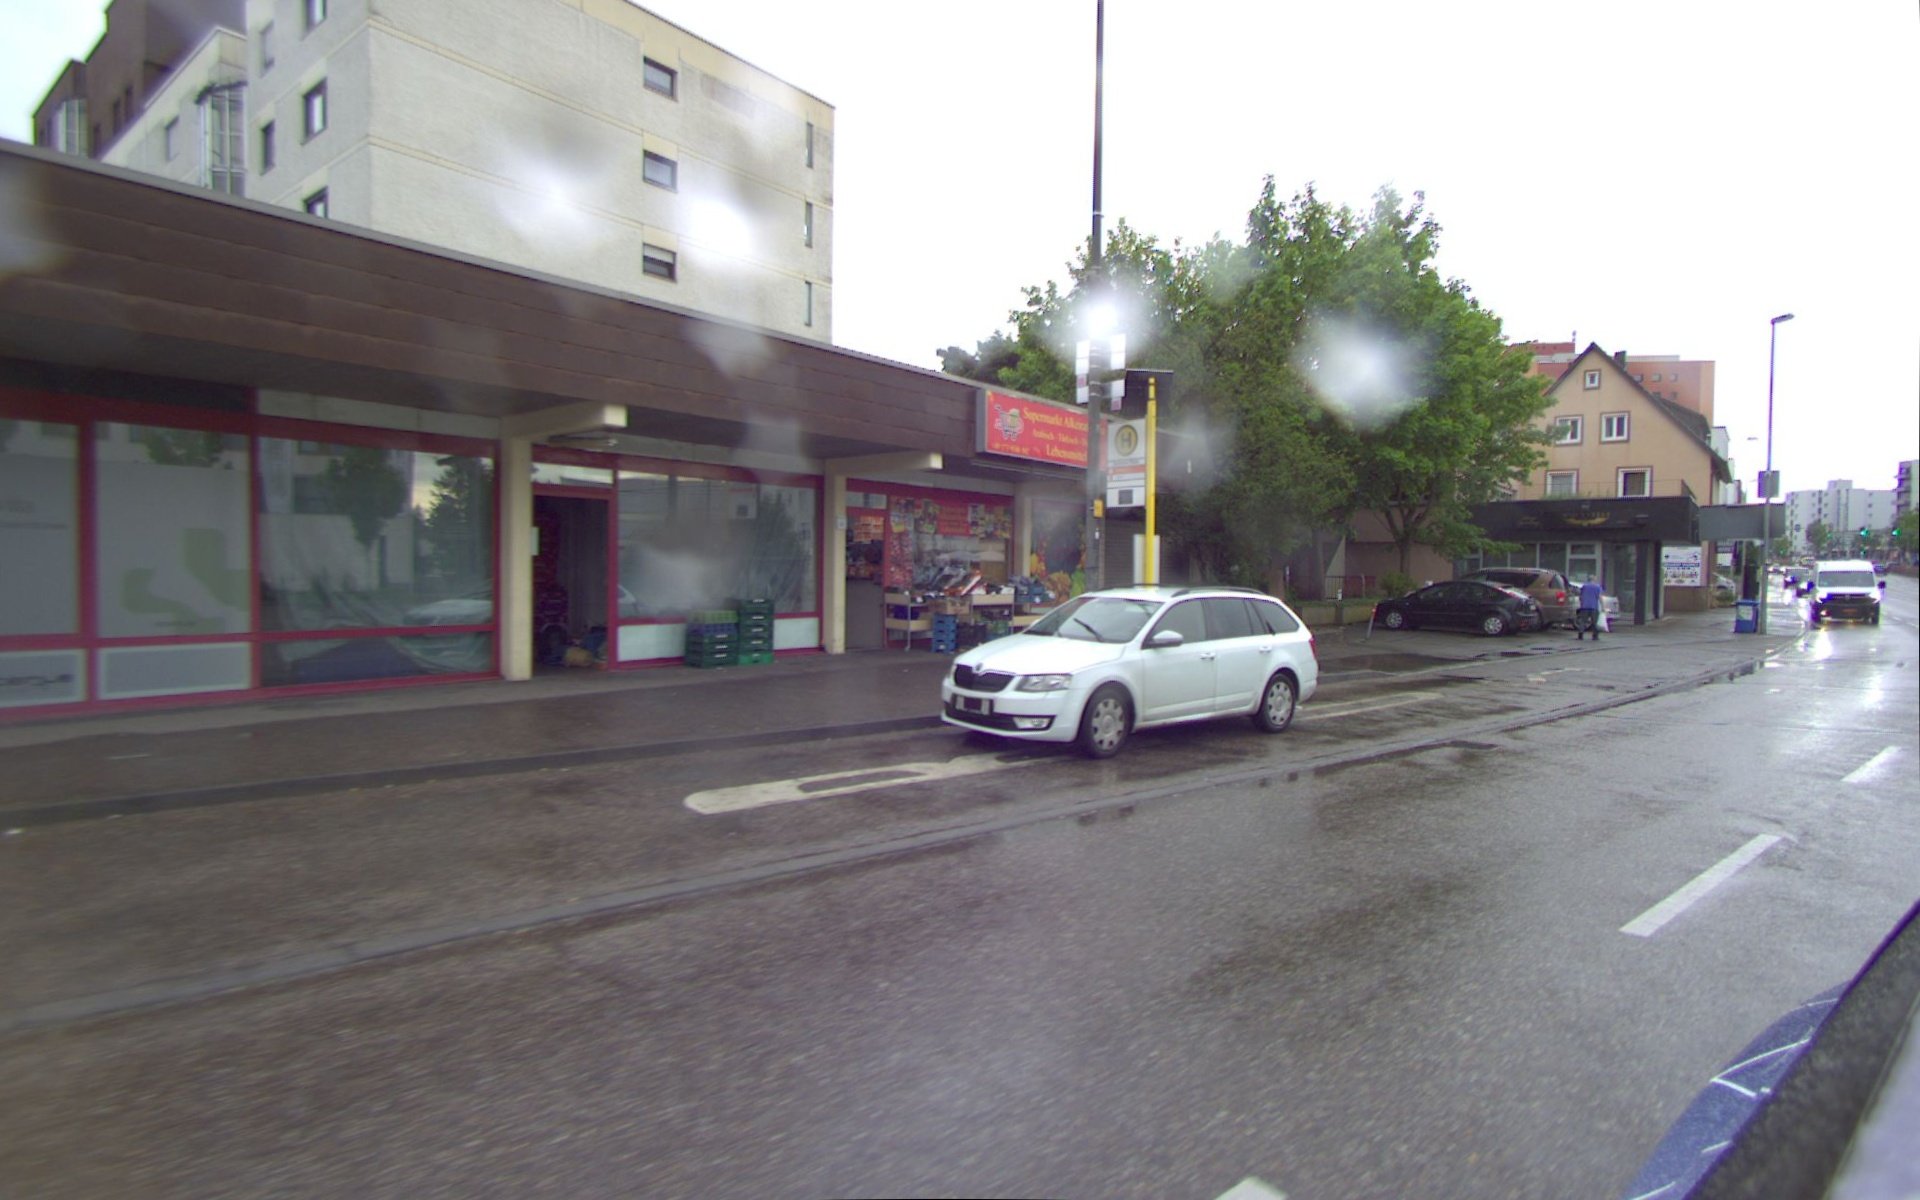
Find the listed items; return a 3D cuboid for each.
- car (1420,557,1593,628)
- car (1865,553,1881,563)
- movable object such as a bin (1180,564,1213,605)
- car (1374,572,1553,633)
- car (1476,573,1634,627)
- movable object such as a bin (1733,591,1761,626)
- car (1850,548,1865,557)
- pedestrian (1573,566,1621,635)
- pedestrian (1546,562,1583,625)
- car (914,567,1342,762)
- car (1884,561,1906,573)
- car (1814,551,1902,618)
[{"bbox_3d":[16.029,-0.283,29.823,1.846,1.893,4.097,-1,3,-45],"label":"car"},{"bbox_3d":[152.676,-7.018,169.253,1.648,1.434,4.082,5,7,39],"label":"car"},{"bbox_3d":[6.291,-0.419,26.936,0.643,1.069,0.632,3,2,39],"label":"movable object such as a bin"},{"bbox_3d":[14.004,0.007,28.308,4.147,1.471,1.775,3,4,42],"label":"car"},{"bbox_3d":[18.692,-0.060,31.906,1.718,1.465,3.990,-1,3,-45],"label":"car"},{"bbox_3d":[25.634,0.264,32.948,0.636,1.087,0.687,3,1,43],"label":"movable object such as a bin"},{"bbox_3d":[169.509,-8.981,191.184,2.000,1.637,4.875,3,5,42],"label":"car"},{"bbox_3d":[16.731,-0.004,26.576,0.875,1.758,0.748,4,3,42],"label":"pedestrian"},{"bbox_3d":[18.225,-0.212,30.539,0.700,1.843,0.794,1,3,14],"label":"pedestrian"},{"bbox_3d":[1.838,0.486,10.203,4.399,1.516,1.735,0,3,-39],"label":"car"},{"bbox_3d":[124.745,-4.408,135.034,1.878,1.542,4.127,3,5,39],"label":"car"},{"bbox_3d":[37.201,-0.752,42.071,2.287,2.410,6.536,3,5,38],"label":"car"}]
